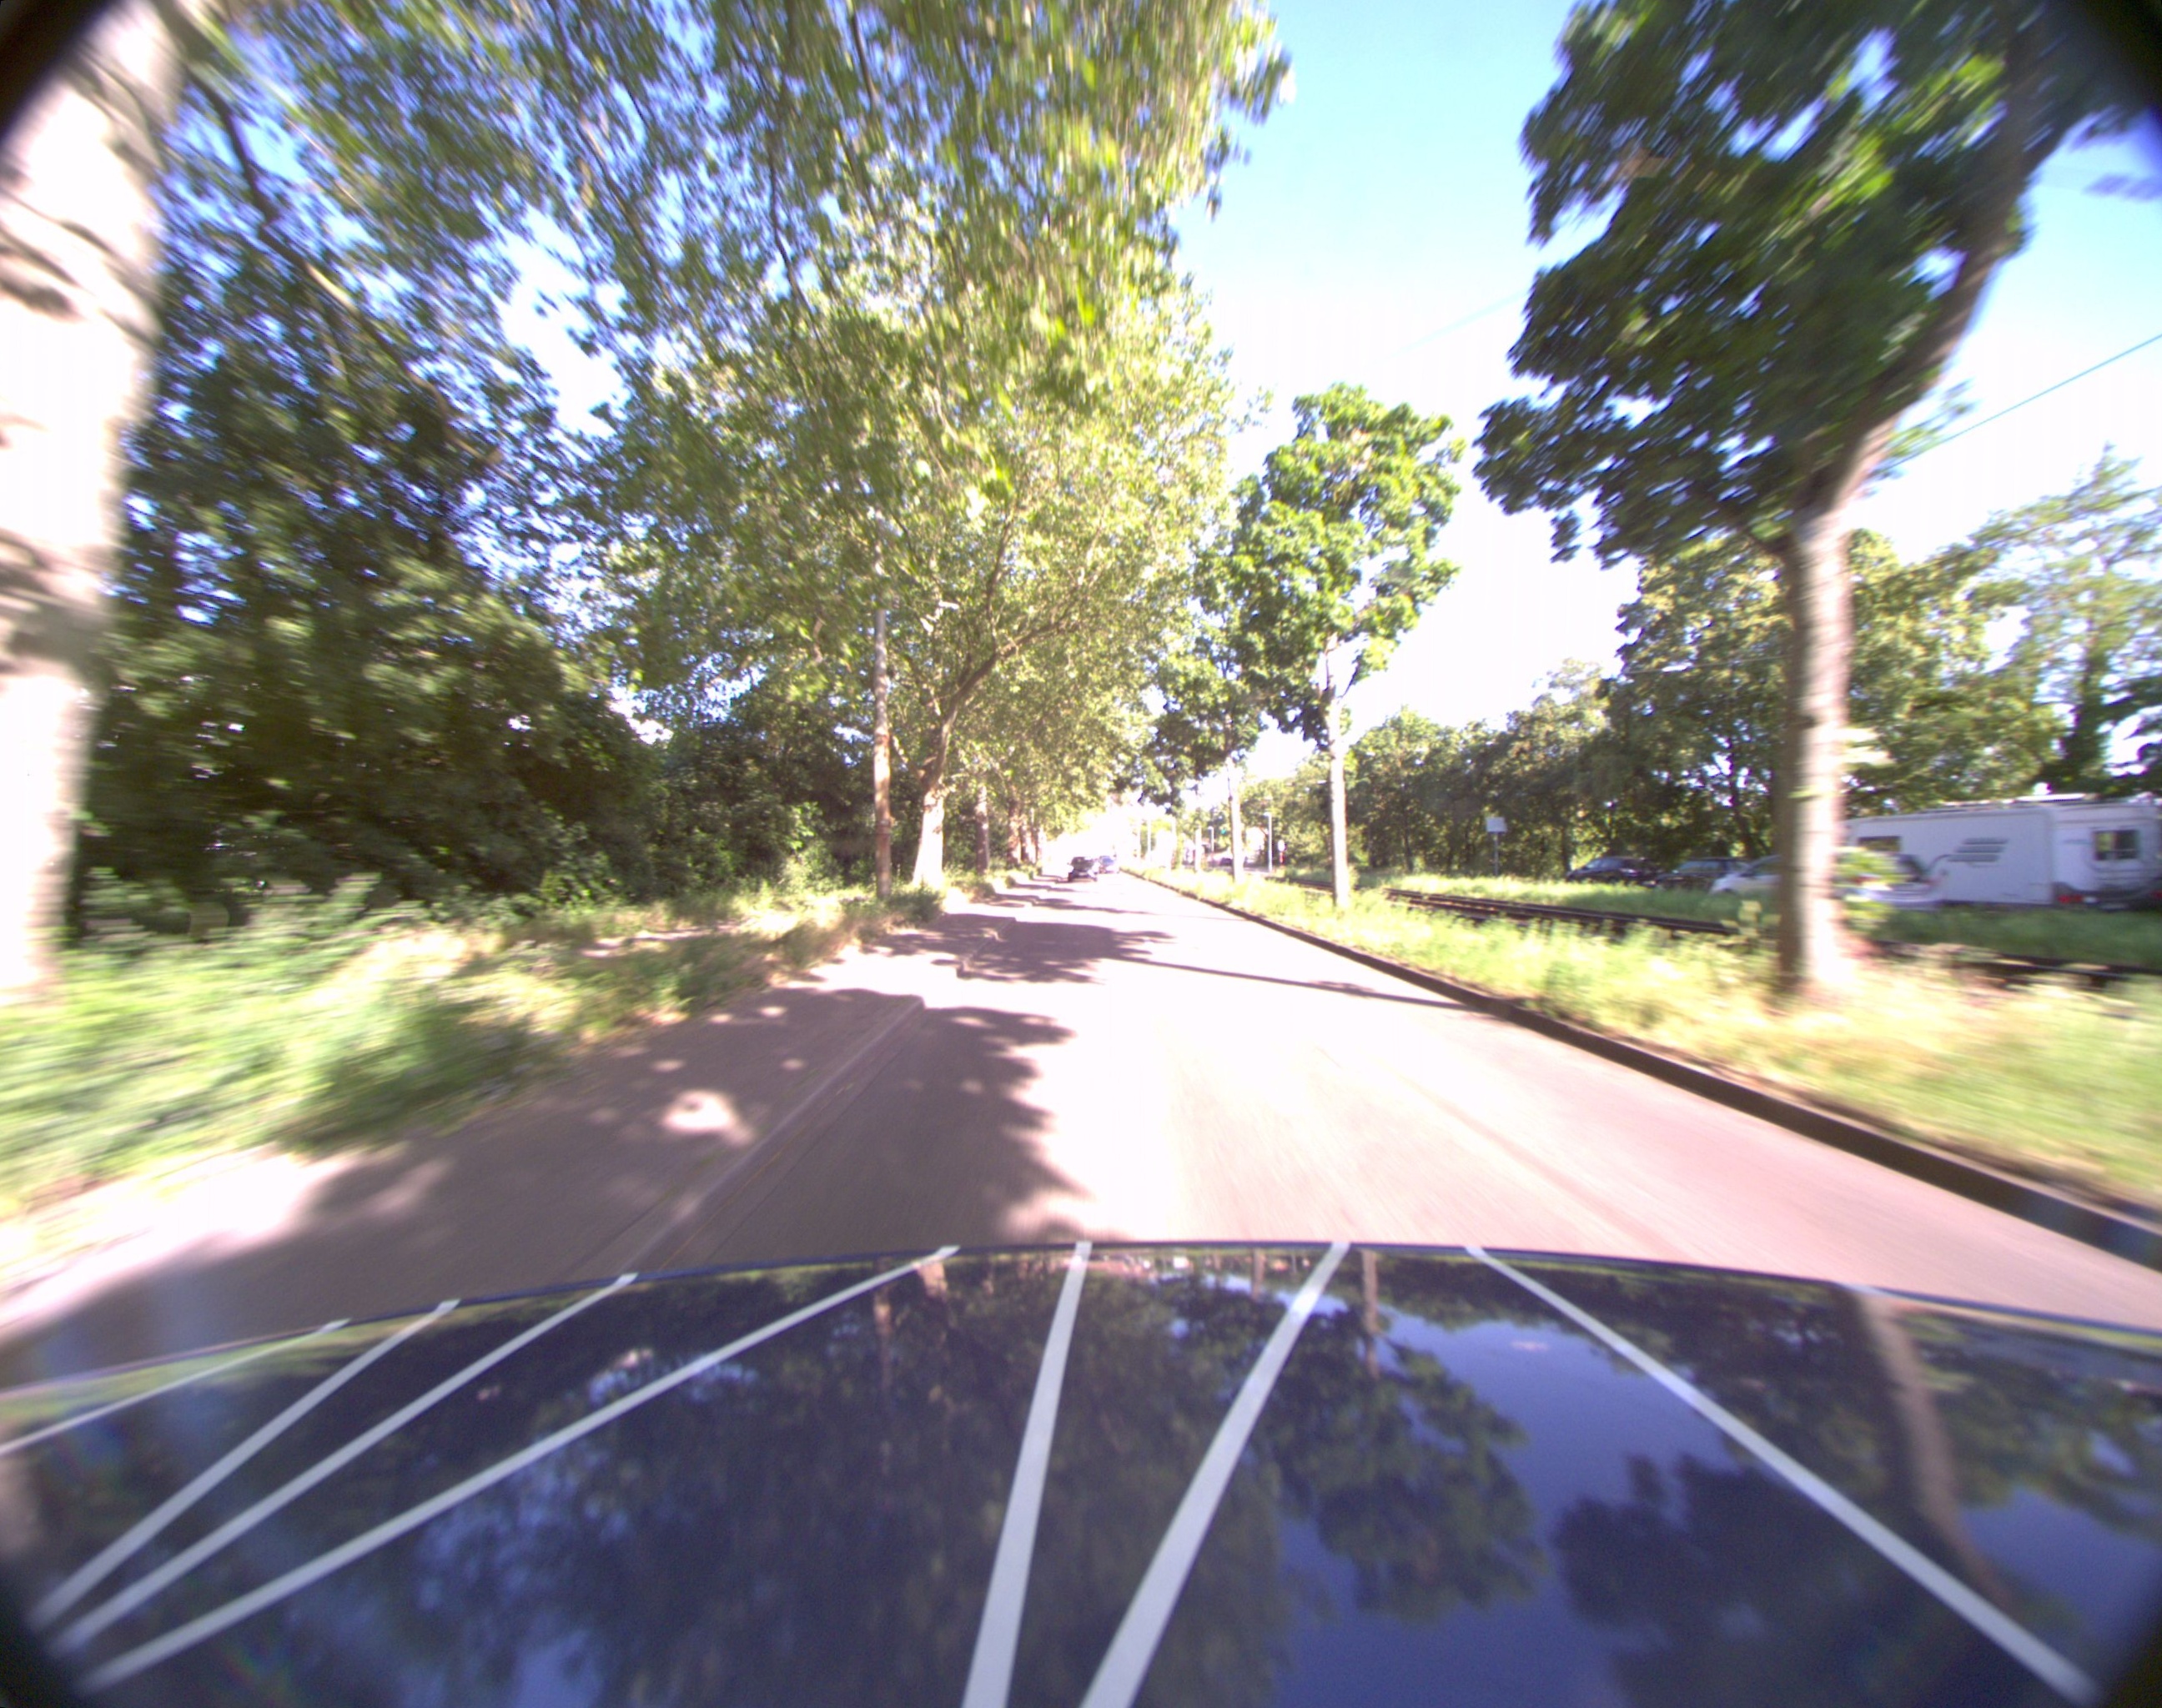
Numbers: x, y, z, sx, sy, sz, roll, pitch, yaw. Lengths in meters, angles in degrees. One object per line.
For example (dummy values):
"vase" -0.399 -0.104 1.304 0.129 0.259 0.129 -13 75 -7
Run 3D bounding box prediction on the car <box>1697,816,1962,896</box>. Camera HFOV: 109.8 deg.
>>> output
"car" 16.772 0.007 17.417 1.731 1.519 4.441 -3 1 1

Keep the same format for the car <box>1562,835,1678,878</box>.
"car" 21.667 0.078 30.780 1.772 1.554 4.282 -2 1 2

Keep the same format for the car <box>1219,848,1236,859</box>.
"car" 20.814 -0.064 107.803 1.640 1.486 4.592 1 1 2

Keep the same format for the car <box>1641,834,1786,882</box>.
"car" 21.626 0.098 26.197 1.715 1.426 4.000 -3 1 1

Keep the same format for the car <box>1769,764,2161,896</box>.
"car" 21.176 -0.502 18.723 2.231 2.565 6.798 -3 0 0

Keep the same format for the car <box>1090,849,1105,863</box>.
"car" 1.858 0.192 85.511 1.590 1.478 3.546 -3 1 1

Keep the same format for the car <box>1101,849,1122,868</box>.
"car" 2.622 0.367 65.656 1.714 1.478 3.546 -3 1 1

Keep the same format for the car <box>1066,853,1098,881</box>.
"car" 0.065 0.761 46.030 1.808 1.478 3.546 -3 1 0
